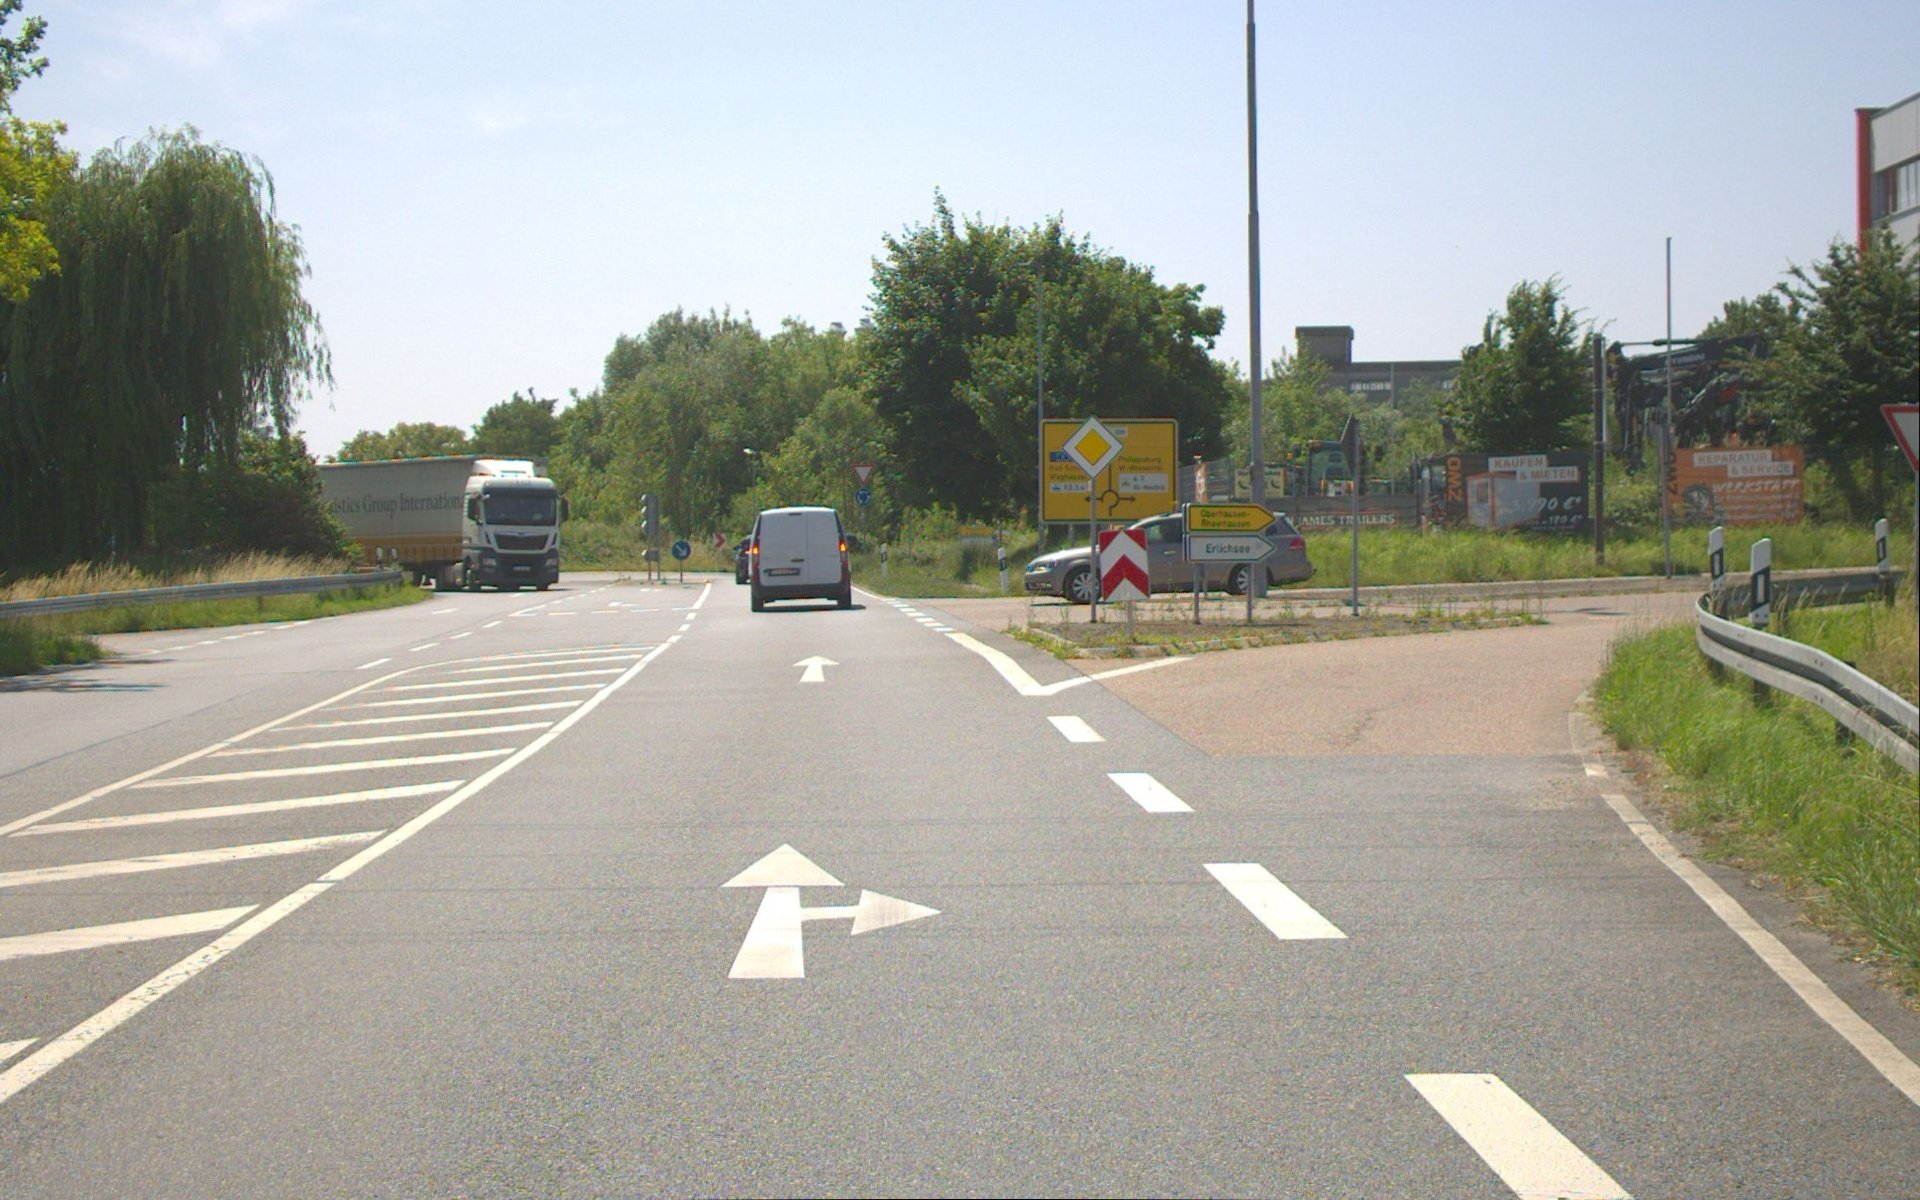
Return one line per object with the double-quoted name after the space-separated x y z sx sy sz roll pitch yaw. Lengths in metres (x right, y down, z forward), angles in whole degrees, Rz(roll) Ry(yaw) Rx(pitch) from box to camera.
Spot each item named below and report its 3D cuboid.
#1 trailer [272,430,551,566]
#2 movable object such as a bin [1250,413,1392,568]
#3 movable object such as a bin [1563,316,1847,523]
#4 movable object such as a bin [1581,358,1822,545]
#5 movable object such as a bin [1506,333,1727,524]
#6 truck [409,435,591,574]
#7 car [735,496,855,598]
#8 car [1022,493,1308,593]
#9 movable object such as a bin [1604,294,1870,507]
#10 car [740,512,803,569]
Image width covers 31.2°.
-17.522 -3.260 108.608 2.790 4.042 13.500 0 2 -36 "trailer"
8.048 -2.394 77.119 2.322 3.239 5.102 1 -1 -3 "movable object such as a bin"
19.512 -4.691 90.409 6.591 5.130 3.806 1 -1 0 "movable object such as a bin"
17.630 -3.504 81.959 5.085 4.260 2.834 1 -1 0 "movable object such as a bin"
18.915 -4.913 99.353 5.716 5.251 3.221 1 -1 0 "movable object such as a bin"
-13.901 -2.880 103.386 2.790 4.042 6.754 0 2 -33 "truck"
-2.937 -0.938 60.598 1.903 1.726 3.823 0 1 -6 "car"
3.350 -0.959 56.771 4.511 1.503 1.915 -2 2 -2 "car"
19.492 -4.967 86.504 5.918 5.087 3.109 1 -1 0 "movable object such as a bin"
-5.587 -1.786 101.774 1.805 1.550 4.001 -1 3 -3 "car"
